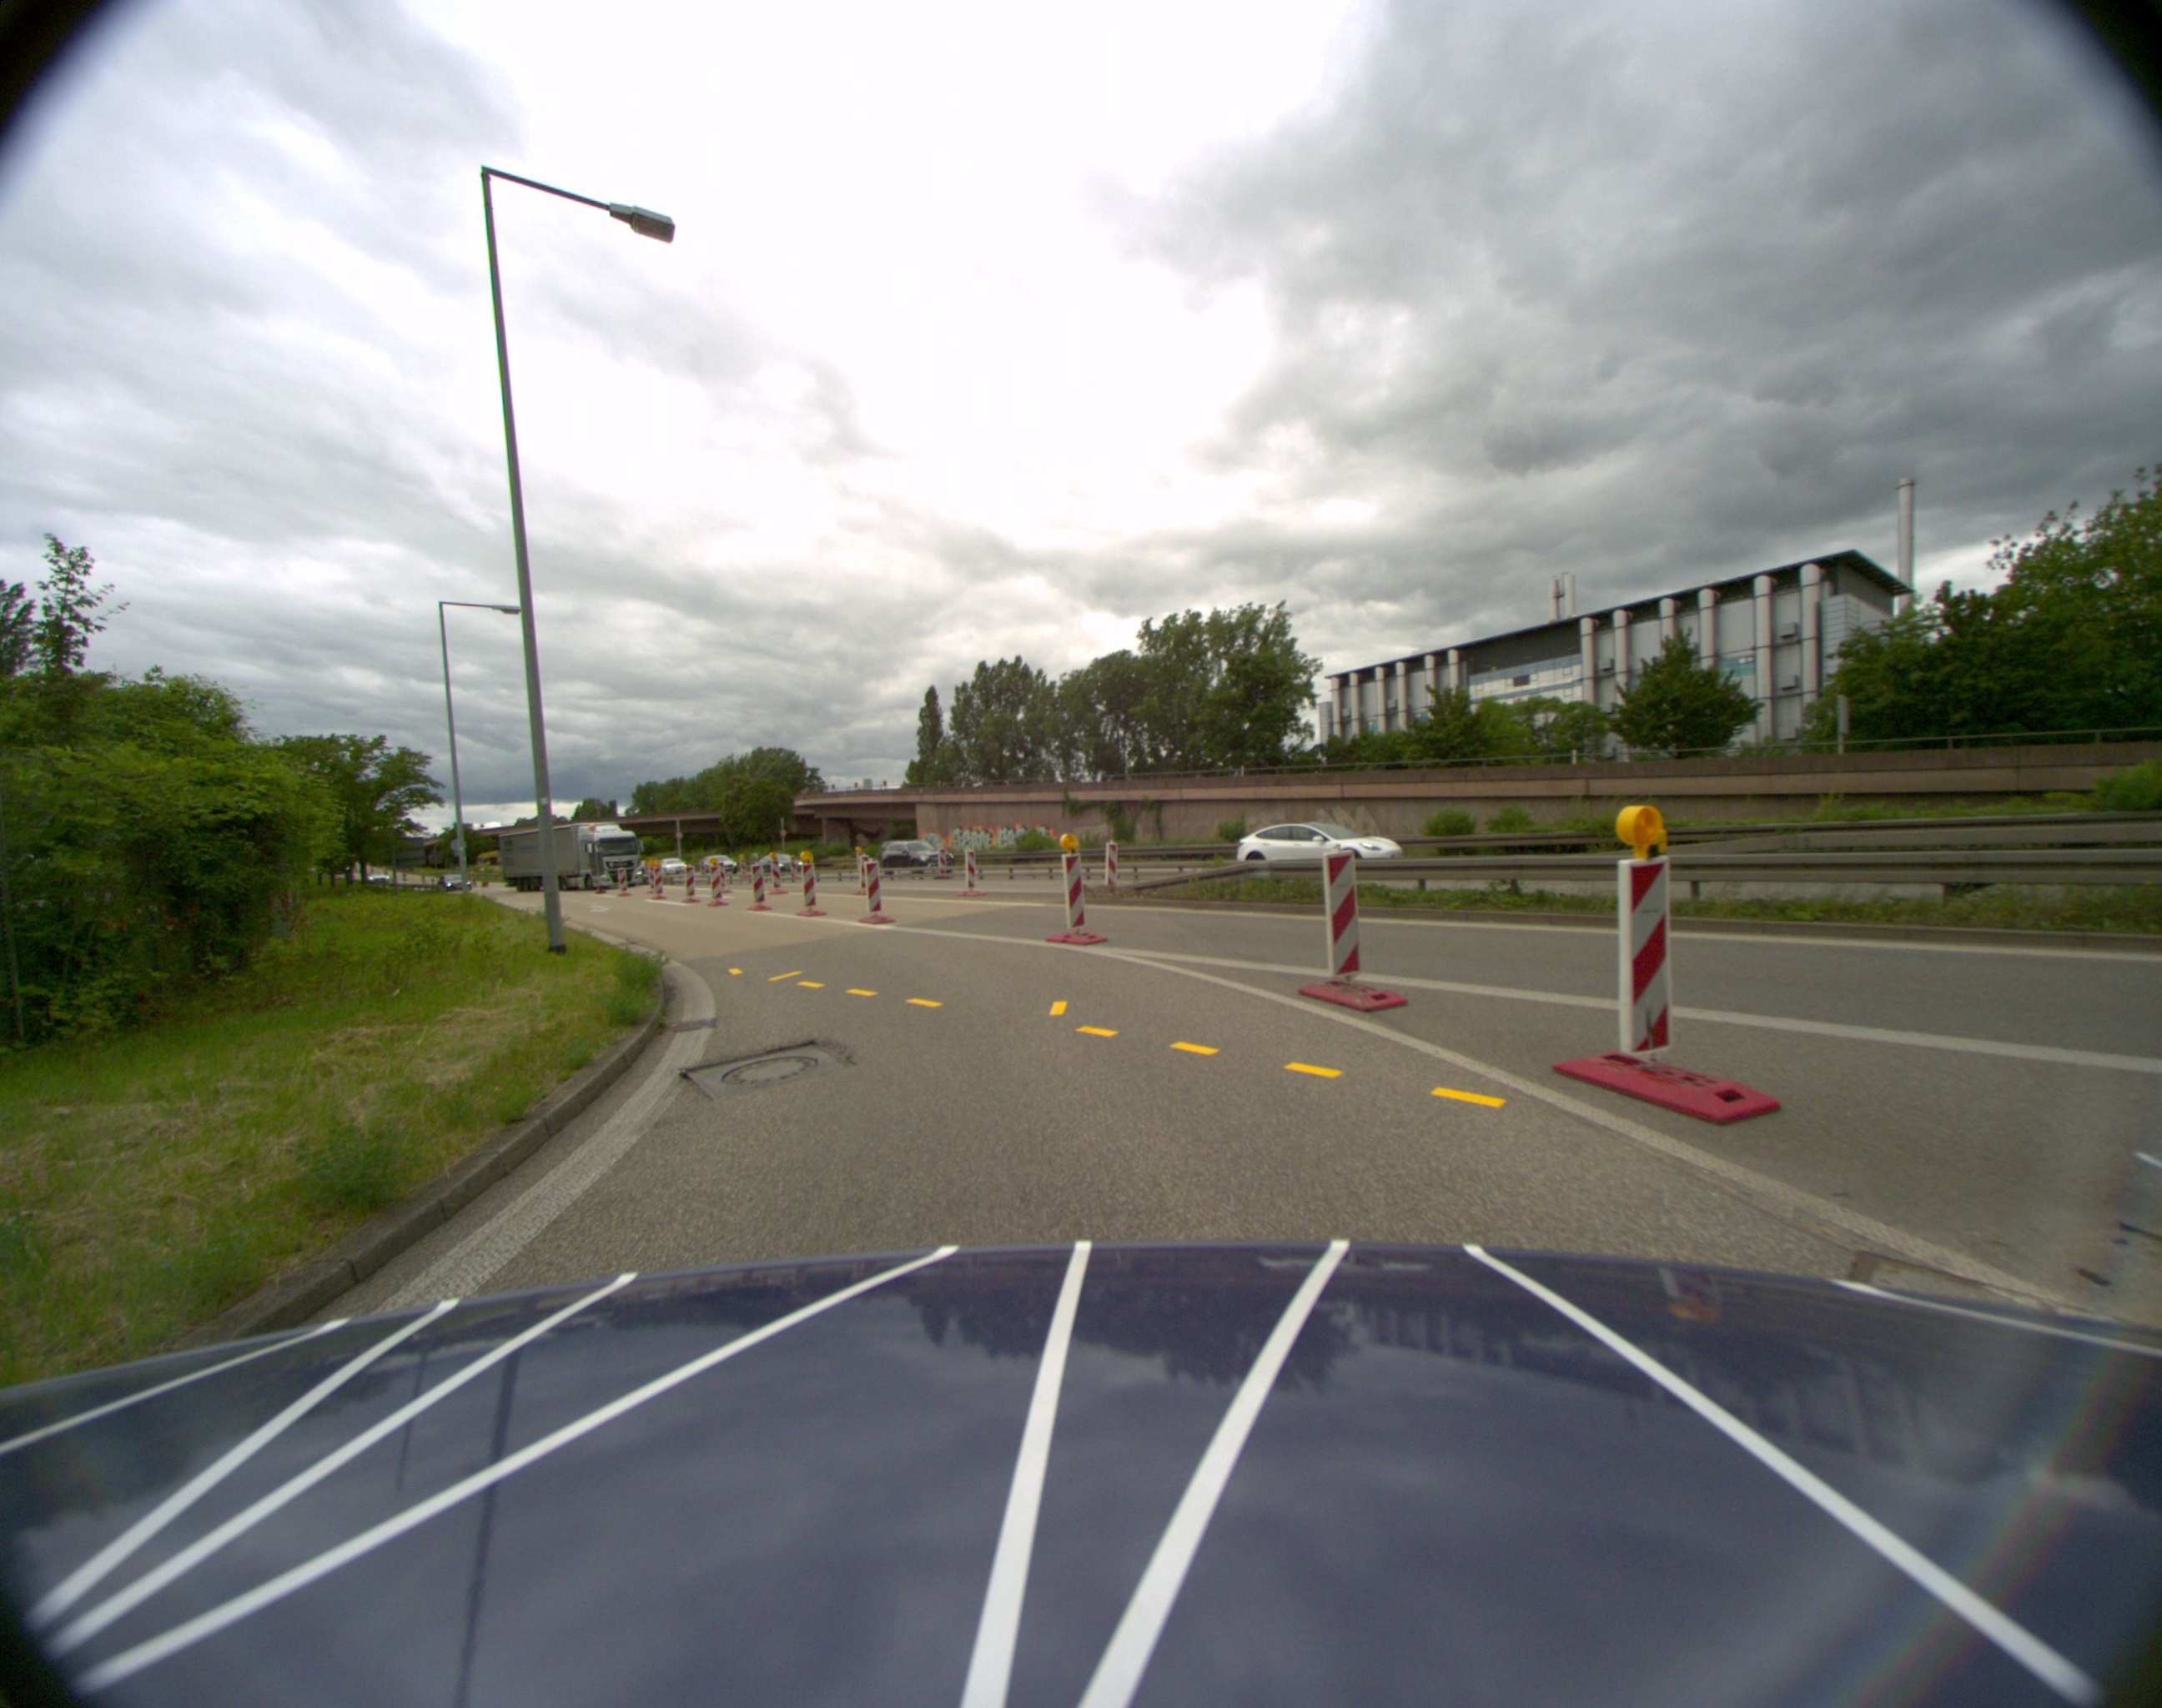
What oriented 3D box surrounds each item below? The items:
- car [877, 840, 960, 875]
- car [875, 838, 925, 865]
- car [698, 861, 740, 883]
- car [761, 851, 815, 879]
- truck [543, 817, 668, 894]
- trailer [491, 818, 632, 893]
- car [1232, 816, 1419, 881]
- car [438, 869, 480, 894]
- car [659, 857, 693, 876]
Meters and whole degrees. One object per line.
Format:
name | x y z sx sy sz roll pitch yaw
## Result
car | -7.978 0.154 37.070 1.985 1.503 4.280 -5 3 -42
car | -14.560 -0.191 61.007 2.003 2.002 4.275 -5 3 -40
car | -28.725 1.386 60.305 1.807 1.503 3.988 -4 3 -43
car | -19.883 0.714 51.460 1.940 1.694 3.988 -6 4 -43
truck | -28.809 0.147 45.889 8.118 4.109 3.169 -2 4 36
trailer | -34.524 0.234 50.155 13.227 4.301 3.171 -2 4 37
car | 6.634 -0.123 20.965 2.003 1.533 4.448 -6 3 -41
car | -54.035 2.394 65.999 3.989 2.002 2.004 -2 2 40
car | -38.426 1.154 72.031 2.003 1.585 3.989 -4 2 -41
